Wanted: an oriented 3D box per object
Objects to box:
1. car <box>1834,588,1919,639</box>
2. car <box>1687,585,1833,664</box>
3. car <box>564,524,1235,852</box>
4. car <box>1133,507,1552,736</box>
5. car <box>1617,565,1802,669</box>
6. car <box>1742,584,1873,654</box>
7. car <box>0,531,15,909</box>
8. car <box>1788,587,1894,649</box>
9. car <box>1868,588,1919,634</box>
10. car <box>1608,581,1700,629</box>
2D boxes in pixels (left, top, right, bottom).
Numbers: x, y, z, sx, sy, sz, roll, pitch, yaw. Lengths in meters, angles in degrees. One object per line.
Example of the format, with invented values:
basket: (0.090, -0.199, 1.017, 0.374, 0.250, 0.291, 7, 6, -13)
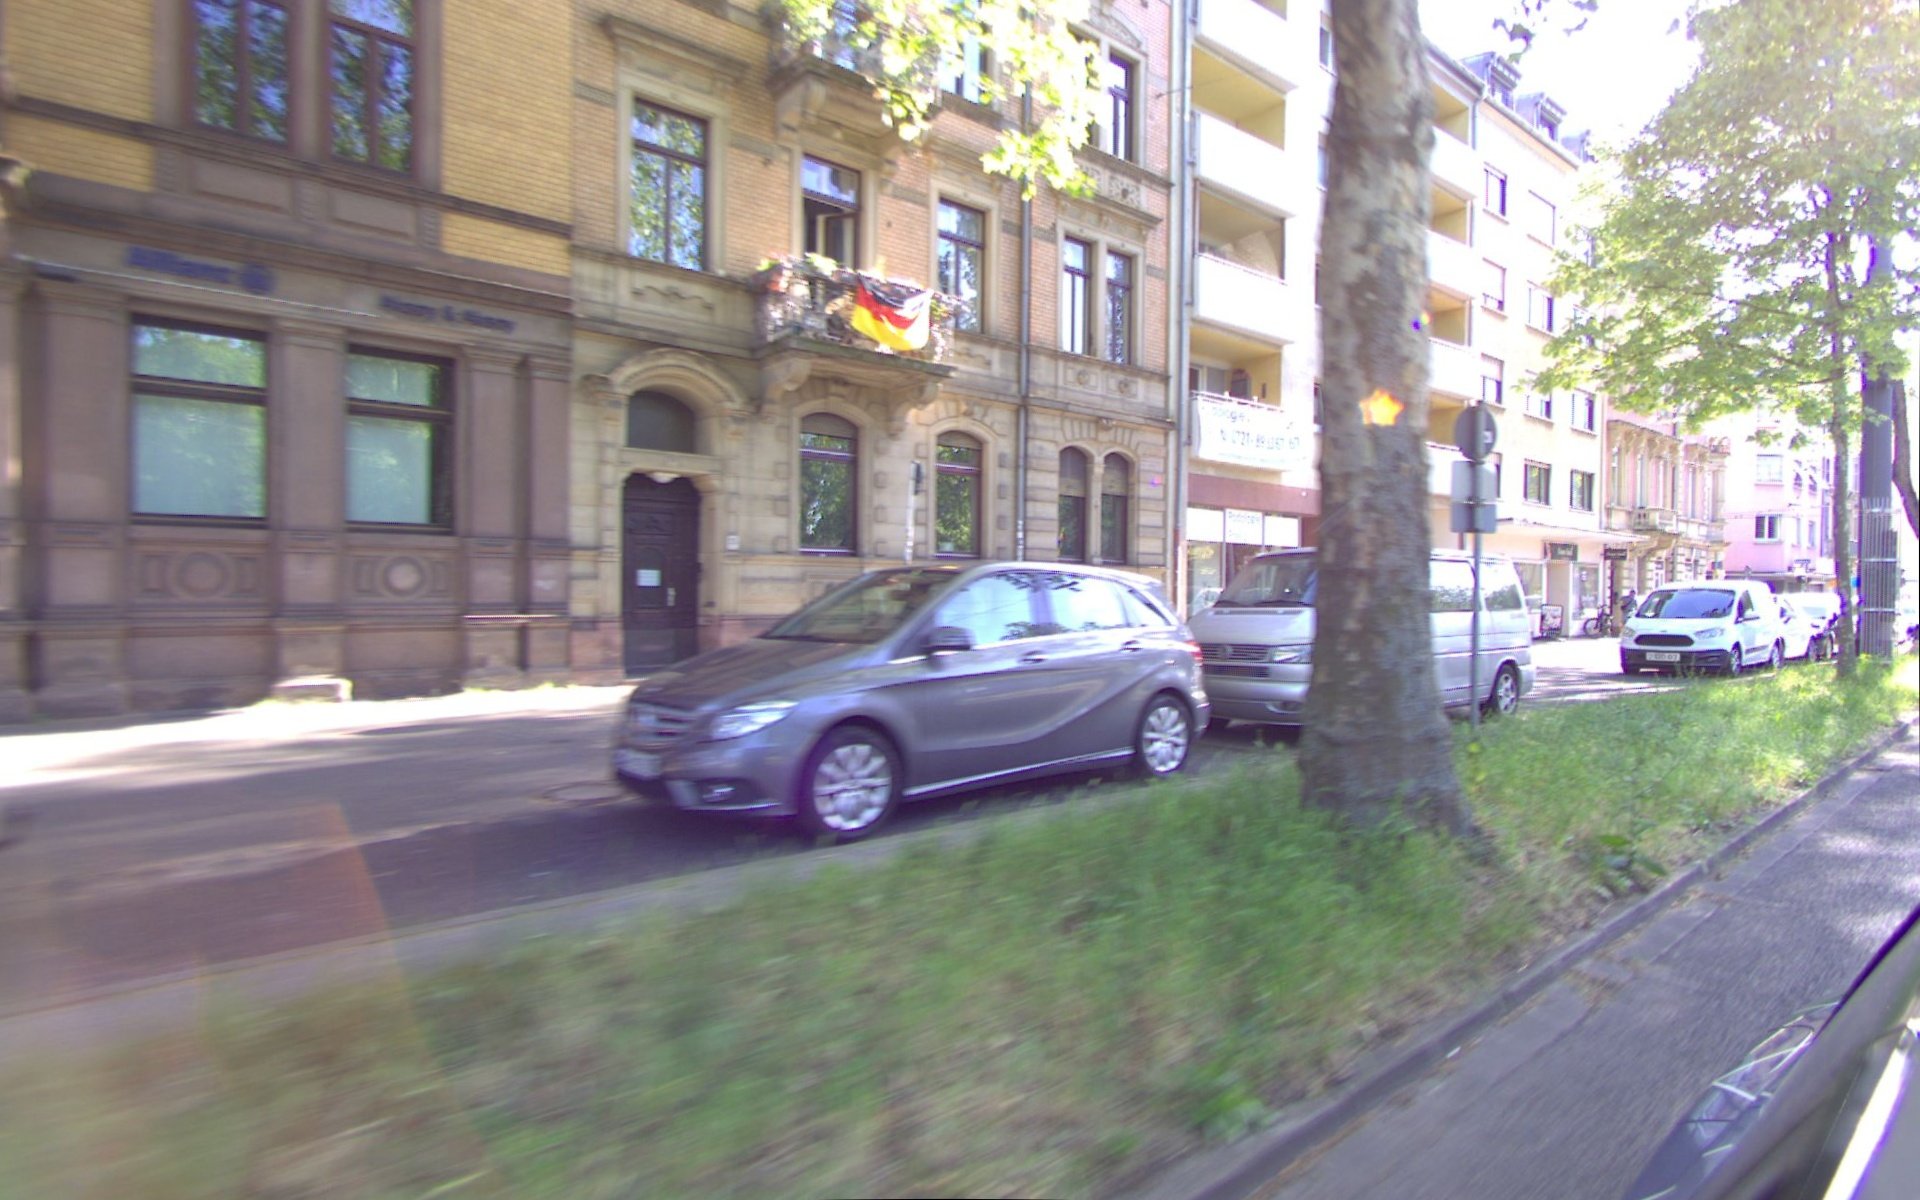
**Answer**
car: (27.735, 0.398, 30.416, 3.835, 1.453, 1.592, 0, -1, -40)
car: (16.554, 0.477, 20.908, 3.426, 1.499, 1.516, 0, -1, -37)
car: (-0.173, 0.414, 6.732, 4.280, 1.521, 1.707, 0, -1, -40)
car: (4.058, 0.190, 10.347, 4.712, 1.839, 1.869, 0, -1, -39)
car: (13.665, 0.293, 18.388, 4.065, 1.689, 1.629, 0, -1, -38)
car: (19.729, 0.431, 23.512, 3.717, 1.504, 1.565, 0, -1, -38)
car: (-5.482, 0.490, 2.444, 4.588, 1.485, 1.680, -1, -1, -41)
car: (22.881, 0.448, 26.241, 3.634, 1.496, 1.628, 0, -1, -42)
car: (31.510, 0.357, 33.423, 4.095, 1.440, 1.699, 0, -1, -40)
car: (23.380, 0.137, 34.061, 3.932, 1.499, 1.695, 0, 1, -42)
